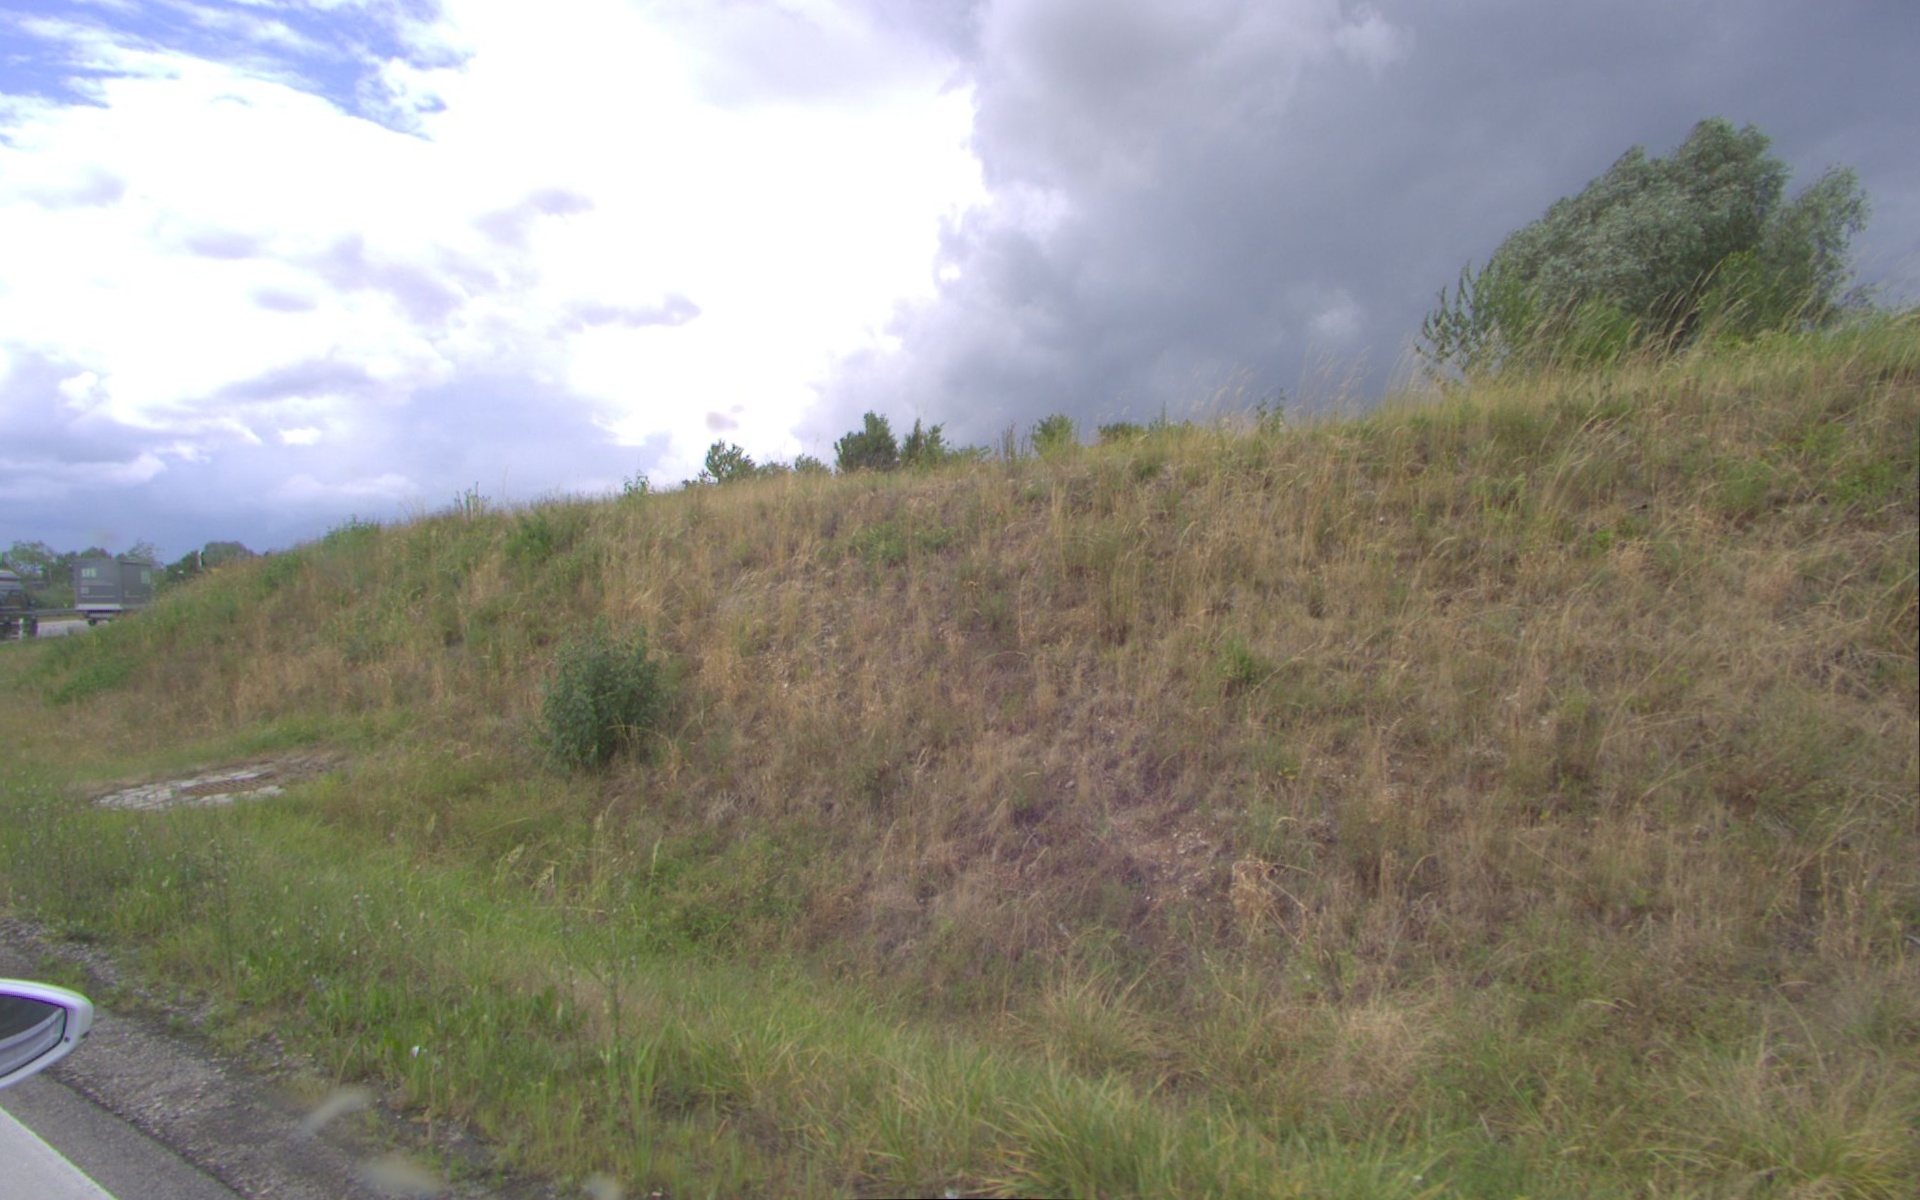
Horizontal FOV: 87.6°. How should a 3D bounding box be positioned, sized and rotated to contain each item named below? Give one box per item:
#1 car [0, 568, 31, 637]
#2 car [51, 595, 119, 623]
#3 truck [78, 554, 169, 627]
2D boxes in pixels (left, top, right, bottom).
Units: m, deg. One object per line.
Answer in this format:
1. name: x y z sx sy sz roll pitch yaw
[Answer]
1. car: -40.806 0.117 41.821 2.082 2.832 3.979 1 -1 -30
2. car: -51.689 0.564 59.246 1.771 1.575 3.951 -1 -1 -21
3. truck: -48.574 -0.451 58.350 2.198 3.956 6.002 0 -2 -21
